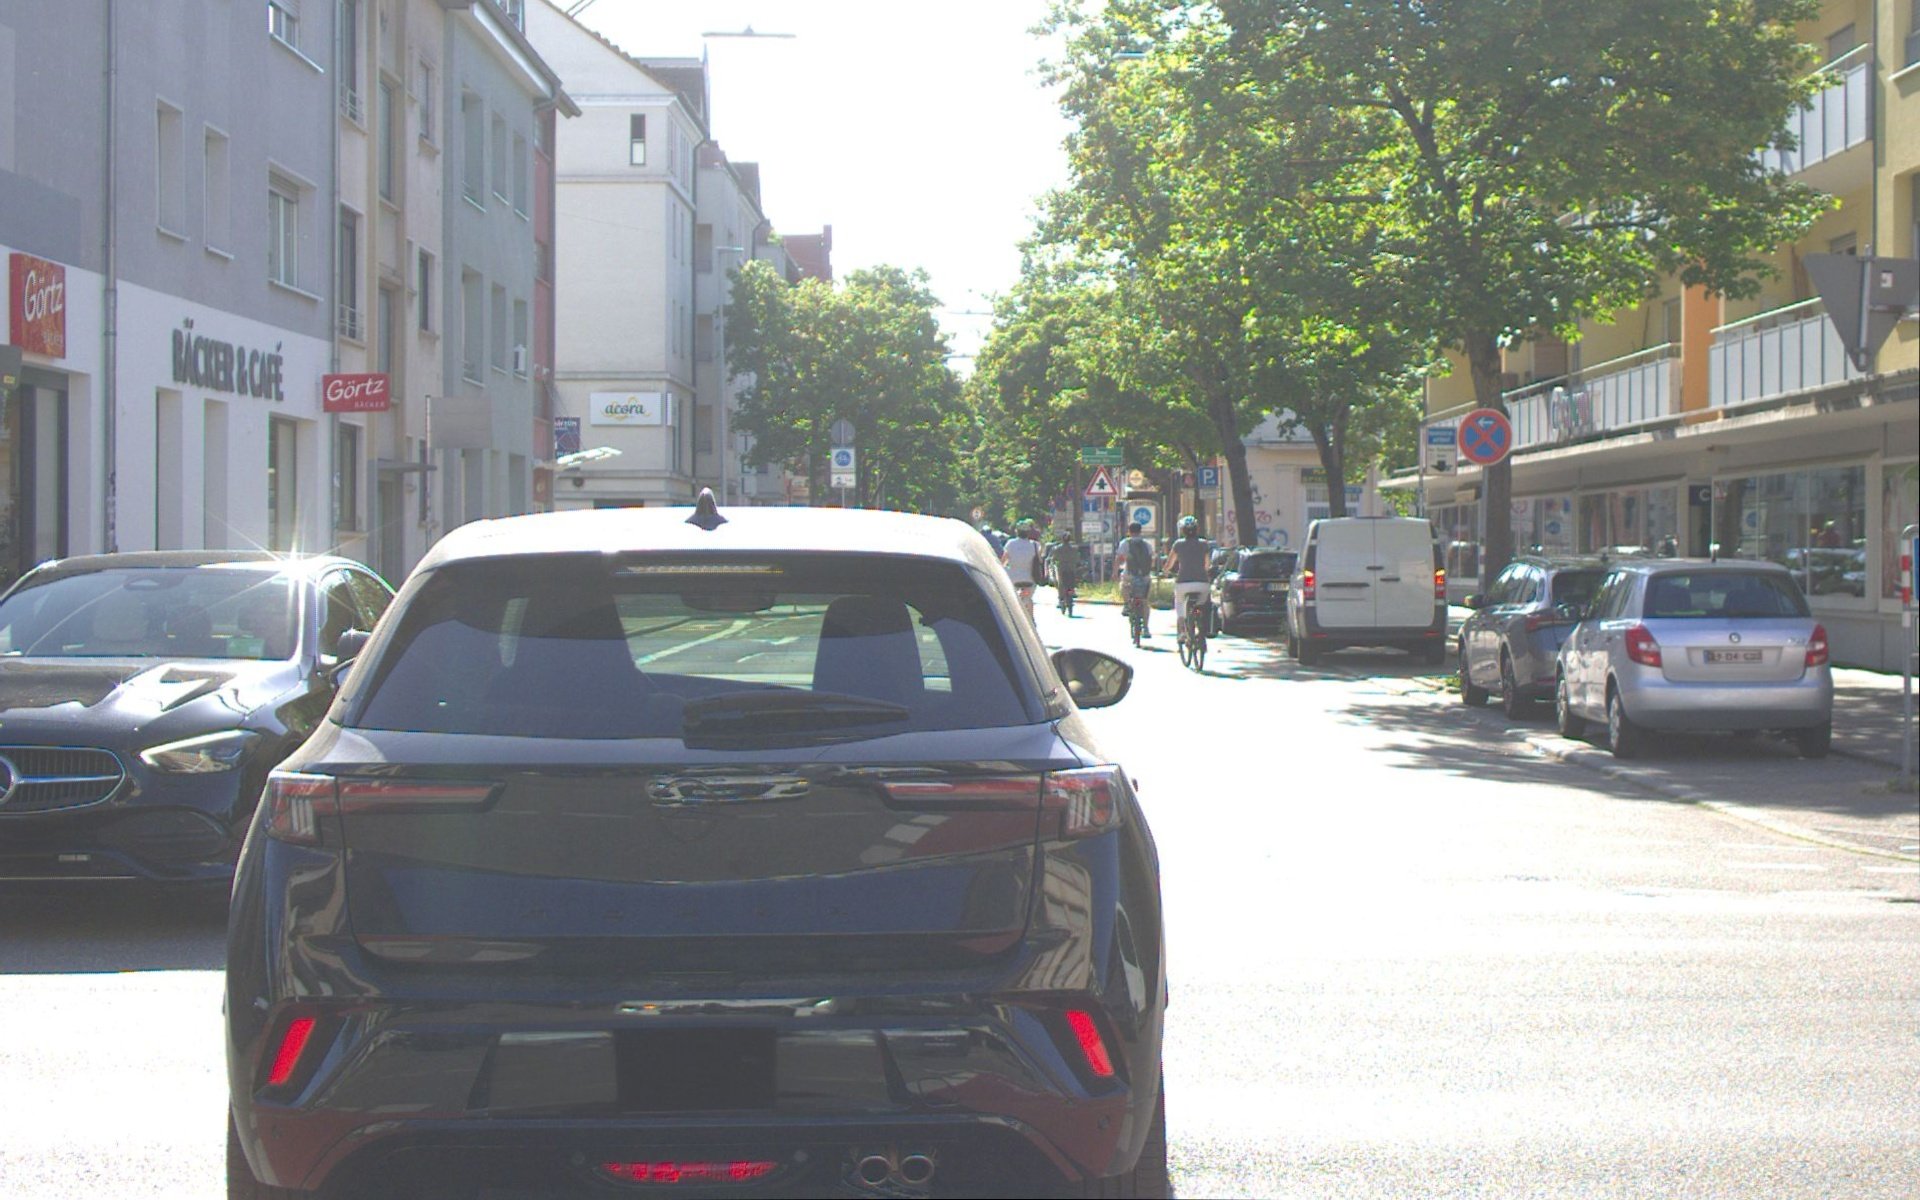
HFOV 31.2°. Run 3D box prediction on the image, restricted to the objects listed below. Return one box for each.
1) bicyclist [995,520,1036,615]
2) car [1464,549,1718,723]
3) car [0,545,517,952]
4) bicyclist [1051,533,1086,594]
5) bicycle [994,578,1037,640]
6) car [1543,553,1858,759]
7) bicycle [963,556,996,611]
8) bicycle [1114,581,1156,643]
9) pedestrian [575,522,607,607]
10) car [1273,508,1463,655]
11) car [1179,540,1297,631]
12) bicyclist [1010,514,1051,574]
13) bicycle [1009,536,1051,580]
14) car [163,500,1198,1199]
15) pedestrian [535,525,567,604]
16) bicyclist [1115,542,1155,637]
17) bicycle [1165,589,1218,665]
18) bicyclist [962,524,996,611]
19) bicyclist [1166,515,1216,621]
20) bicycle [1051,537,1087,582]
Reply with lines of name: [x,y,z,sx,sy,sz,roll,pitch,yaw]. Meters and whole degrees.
bicyclist: [0.818,-0.484,50.823,0.588,1.378,0.823,0,1,1]
car: [5.728,0.287,31.544,1.712,1.478,3.381,0,1,0]
car: [-3.261,0.504,14.442,1.805,1.408,4.425,-1,1,6]
bicyclist: [2.138,-0.723,67.852,0.692,1.189,0.595,0,1,1]
bicycle: [0.818,0.121,50.802,0.620,0.863,1.876,0,1,1]
car: [5.719,0.387,26.922,1.712,1.478,3.480,0,1,0]
bicycle: [0.377,-0.323,66.930,0.632,1.037,1.795,0,1,0]
bicycle: [2.552,0.166,50.244,0.547,0.863,1.876,0,1,1]
pedestrian: [-6.919,-0.664,64.460,0.577,1.577,0.708,0,1,-5]
car: [5.332,-0.278,45.464,2.046,1.840,4.584,0,1,1]
car: [4.650,-0.265,57.875,1.712,1.478,3.381,0,1,0]
bicyclist: [1.606,-1.280,78.277,0.856,1.310,1.210,3,1,0]
bicycle: [1.596,-0.971,78.399,0.856,0.941,2.307,3,1,0]
car: [-0.491,0.586,7.883,1.762,1.553,4.000,0,1,0]
pedestrian: [-7.659,-0.669,64.401,0.577,1.462,0.703,0,1,-5]
bicyclist: [2.554,-0.159,50.288,0.547,1.378,0.823,0,1,1]
bicycle: [2.768,0.313,41.230,0.547,0.863,1.876,0,1,1]
bicyclist: [0.367,-0.629,66.547,0.632,1.663,1.050,0,1,0]
bicyclist: [2.772,-0.383,41.252,0.547,1.257,0.803,0,1,1]
bicycle: [2.141,-0.804,67.750,0.691,0.863,1.876,0,1,1]
